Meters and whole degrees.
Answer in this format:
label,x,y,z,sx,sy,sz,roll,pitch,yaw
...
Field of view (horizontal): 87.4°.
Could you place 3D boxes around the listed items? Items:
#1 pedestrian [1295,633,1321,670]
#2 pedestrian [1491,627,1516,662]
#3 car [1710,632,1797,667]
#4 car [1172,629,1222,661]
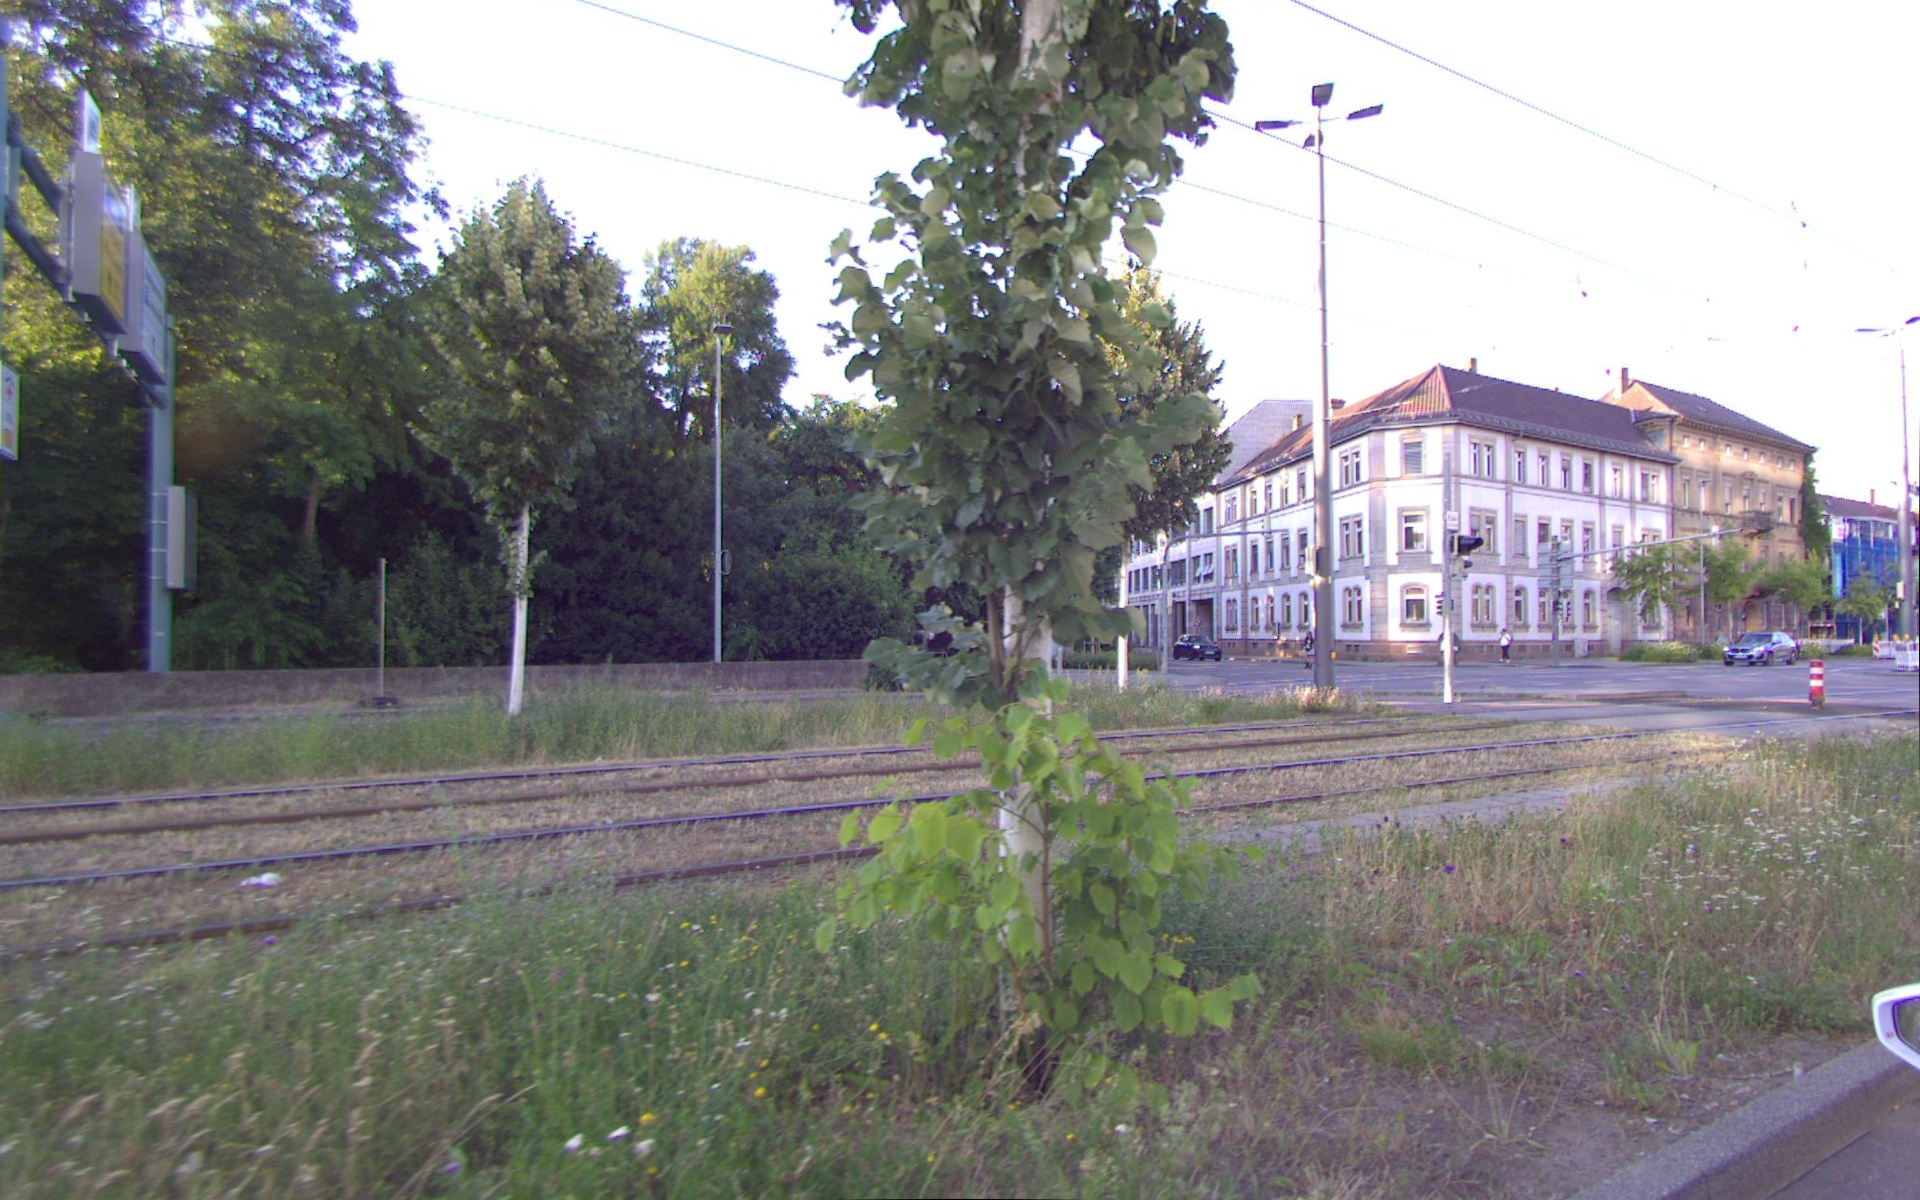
label,x,y,z,sx,sy,sz,roll,pitch,yaw
pedestrian,14.649,2.156,42.263,0.927,1.478,0.599,1,0,-37
pedestrian,27.181,2.209,50.242,0.800,1.738,0.701,1,1,-20
car,38.666,2.410,48.923,4.076,1.601,1.984,1,-3,-31
car,13.132,2.493,55.944,1.755,1.576,3.999,1,0,-1
